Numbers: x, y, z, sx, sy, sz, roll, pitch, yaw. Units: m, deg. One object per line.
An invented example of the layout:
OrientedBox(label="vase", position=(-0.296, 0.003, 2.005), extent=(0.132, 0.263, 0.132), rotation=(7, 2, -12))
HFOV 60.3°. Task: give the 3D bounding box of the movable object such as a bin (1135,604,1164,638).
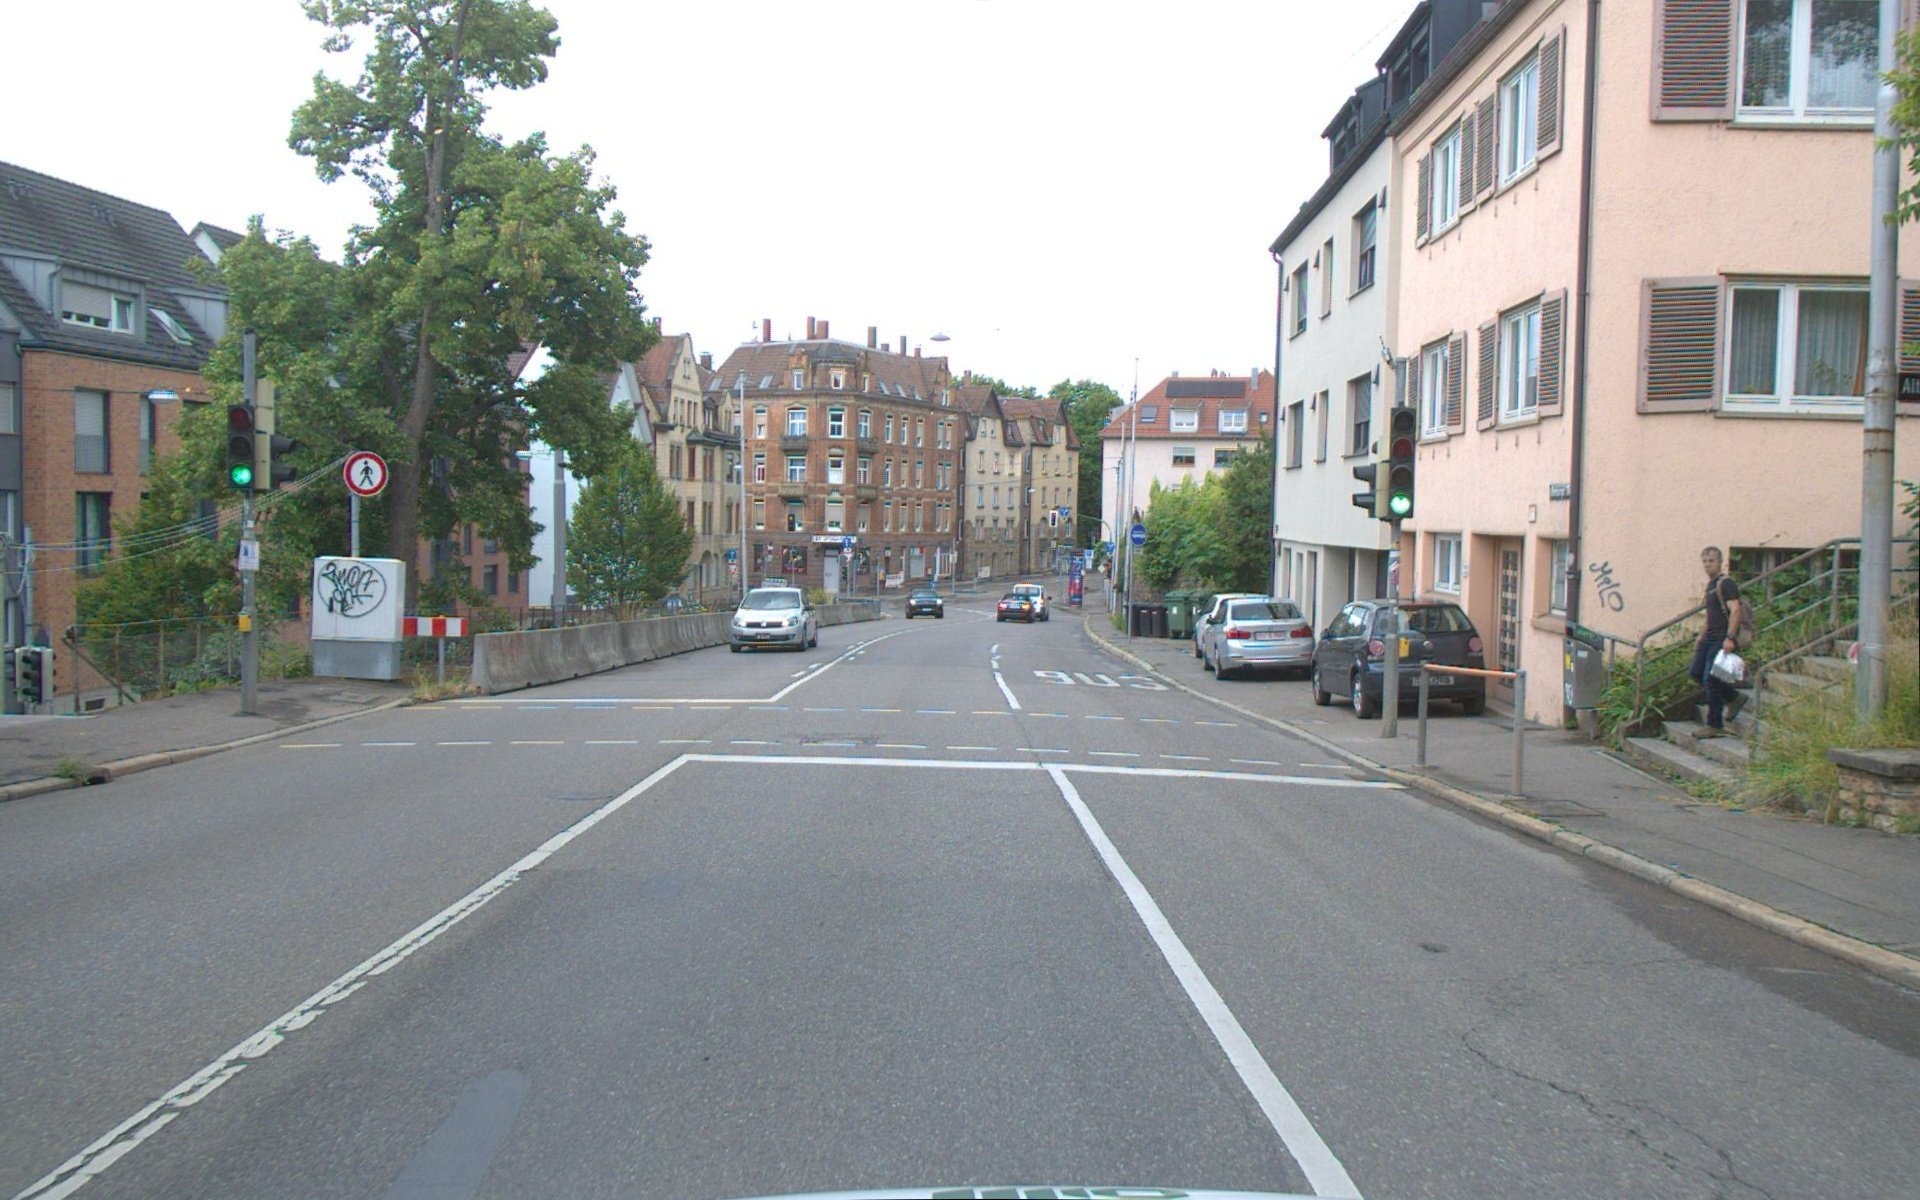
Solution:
OrientedBox(label="movable object such as a bin", position=(6.002, 0.672, 52.374), extent=(0.730, 1.077, 0.676), rotation=(1, -1, -15))

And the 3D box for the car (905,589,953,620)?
OrientedBox(label="car", position=(-1.653, 0.215, 90.367), extent=(1.940, 1.602, 4.378), rotation=(-1, 0, 8))

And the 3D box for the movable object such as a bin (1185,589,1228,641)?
OrientedBox(label="movable object such as a bin", position=(7.154, 0.441, 48.083), extent=(1.026, 1.470, 1.204), rotation=(1, -1, -2))

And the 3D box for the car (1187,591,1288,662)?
OrientedBox(label="car", position=(6.030, 0.556, 36.264), extent=(1.756, 1.448, 4.006), rotation=(-1, 0, 4))

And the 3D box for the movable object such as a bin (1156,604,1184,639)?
OrientedBox(label="movable object such as a bin", position=(6.480, 0.659, 51.004), extent=(0.697, 1.077, 0.545), rotation=(1, -1, -15))

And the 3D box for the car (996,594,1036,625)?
OrientedBox(label="car", position=(2.812, 0.461, 82.429), extent=(1.778, 1.455, 4.002), rotation=(2, 0, 4))

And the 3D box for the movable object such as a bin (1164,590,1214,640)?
OrientedBox(label="movable object such as a bin", position=(6.898, 0.450, 49.914), extent=(1.030, 1.470, 1.413), rotation=(1, -1, -15))

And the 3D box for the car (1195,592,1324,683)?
OrientedBox(label="car", position=(5.548, 0.640, 31.125), extent=(1.757, 1.476, 4.720), rotation=(-3, 1, 3))

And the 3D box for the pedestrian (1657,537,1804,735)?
OrientedBox(label="pedestrian", position=(7.023, 0.327, 15.116), extent=(0.869, 1.725, 0.872), rotation=(2, -1, -4))

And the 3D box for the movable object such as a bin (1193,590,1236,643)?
OrientedBox(label="movable object such as a bin", position=(7.167, 0.462, 46.591), extent=(1.026, 1.470, 1.205), rotation=(1, -1, 1))

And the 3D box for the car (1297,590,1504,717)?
OrientedBox(label="car", position=(5.803, 0.670, 22.260), extent=(1.647, 1.476, 4.000), rotation=(-3, 0, 0))

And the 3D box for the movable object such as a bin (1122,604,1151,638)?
OrientedBox(label="movable object such as a bin", position=(5.653, 0.664, 53.008), extent=(0.730, 1.077, 0.676), rotation=(1, -1, -15))

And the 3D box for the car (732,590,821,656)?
OrientedBox(label="car", position=(-4.300, 0.515, 39.257), extent=(1.685, 1.470, 4.158), rotation=(0, 0, -1))

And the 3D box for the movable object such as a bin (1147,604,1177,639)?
OrientedBox(label="movable object such as a bin", position=(6.312, 0.661, 51.654), extent=(0.730, 1.077, 0.676), rotation=(1, -1, -15))

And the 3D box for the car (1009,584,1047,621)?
OrientedBox(label="car", position=(3.678, 0.137, 89.167), extent=(1.869, 1.917, 4.002), rotation=(2, 0, 4))
